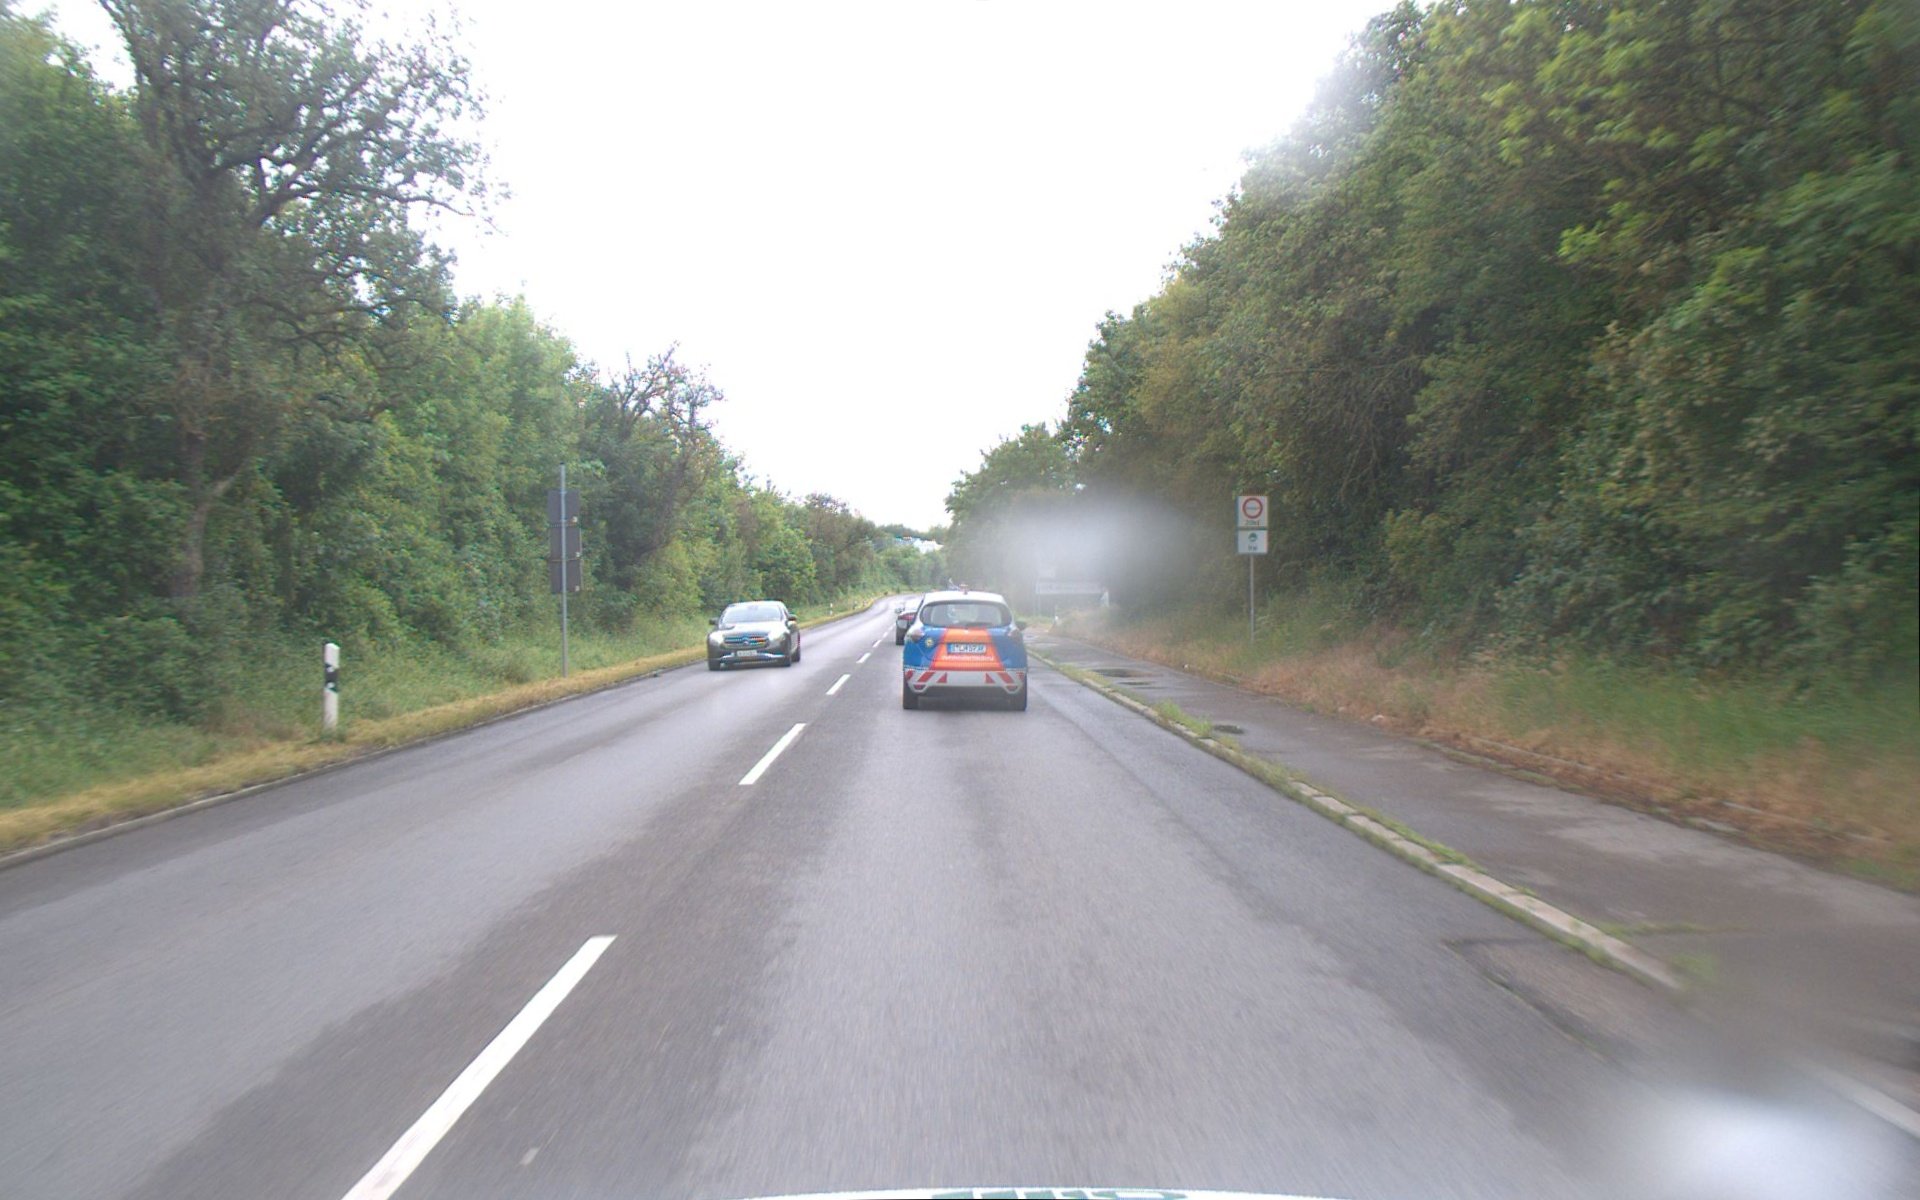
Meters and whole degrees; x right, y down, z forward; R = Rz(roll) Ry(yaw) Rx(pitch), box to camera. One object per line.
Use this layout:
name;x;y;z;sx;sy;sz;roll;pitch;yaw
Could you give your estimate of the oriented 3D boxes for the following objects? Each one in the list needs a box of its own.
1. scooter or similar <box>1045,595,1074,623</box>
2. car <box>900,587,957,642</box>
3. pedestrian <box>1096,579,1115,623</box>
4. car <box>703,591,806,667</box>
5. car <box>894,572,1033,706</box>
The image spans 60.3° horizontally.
scooter or similar;4.439;0.399;73.513;1.302;1.227;0.372;-1;0;40
car;-1.025;0.451;51.845;1.660;1.623;3.854;1;0;-2
pedestrian;6.181;0.043;70.153;0.679;1.859;0.801;-1;0;-1
car;-4.637;0.632;37.907;1.833;1.515;4.572;-3;0;-2
car;-0.001;0.507;23.382;1.769;1.697;3.854;1;0;-2
